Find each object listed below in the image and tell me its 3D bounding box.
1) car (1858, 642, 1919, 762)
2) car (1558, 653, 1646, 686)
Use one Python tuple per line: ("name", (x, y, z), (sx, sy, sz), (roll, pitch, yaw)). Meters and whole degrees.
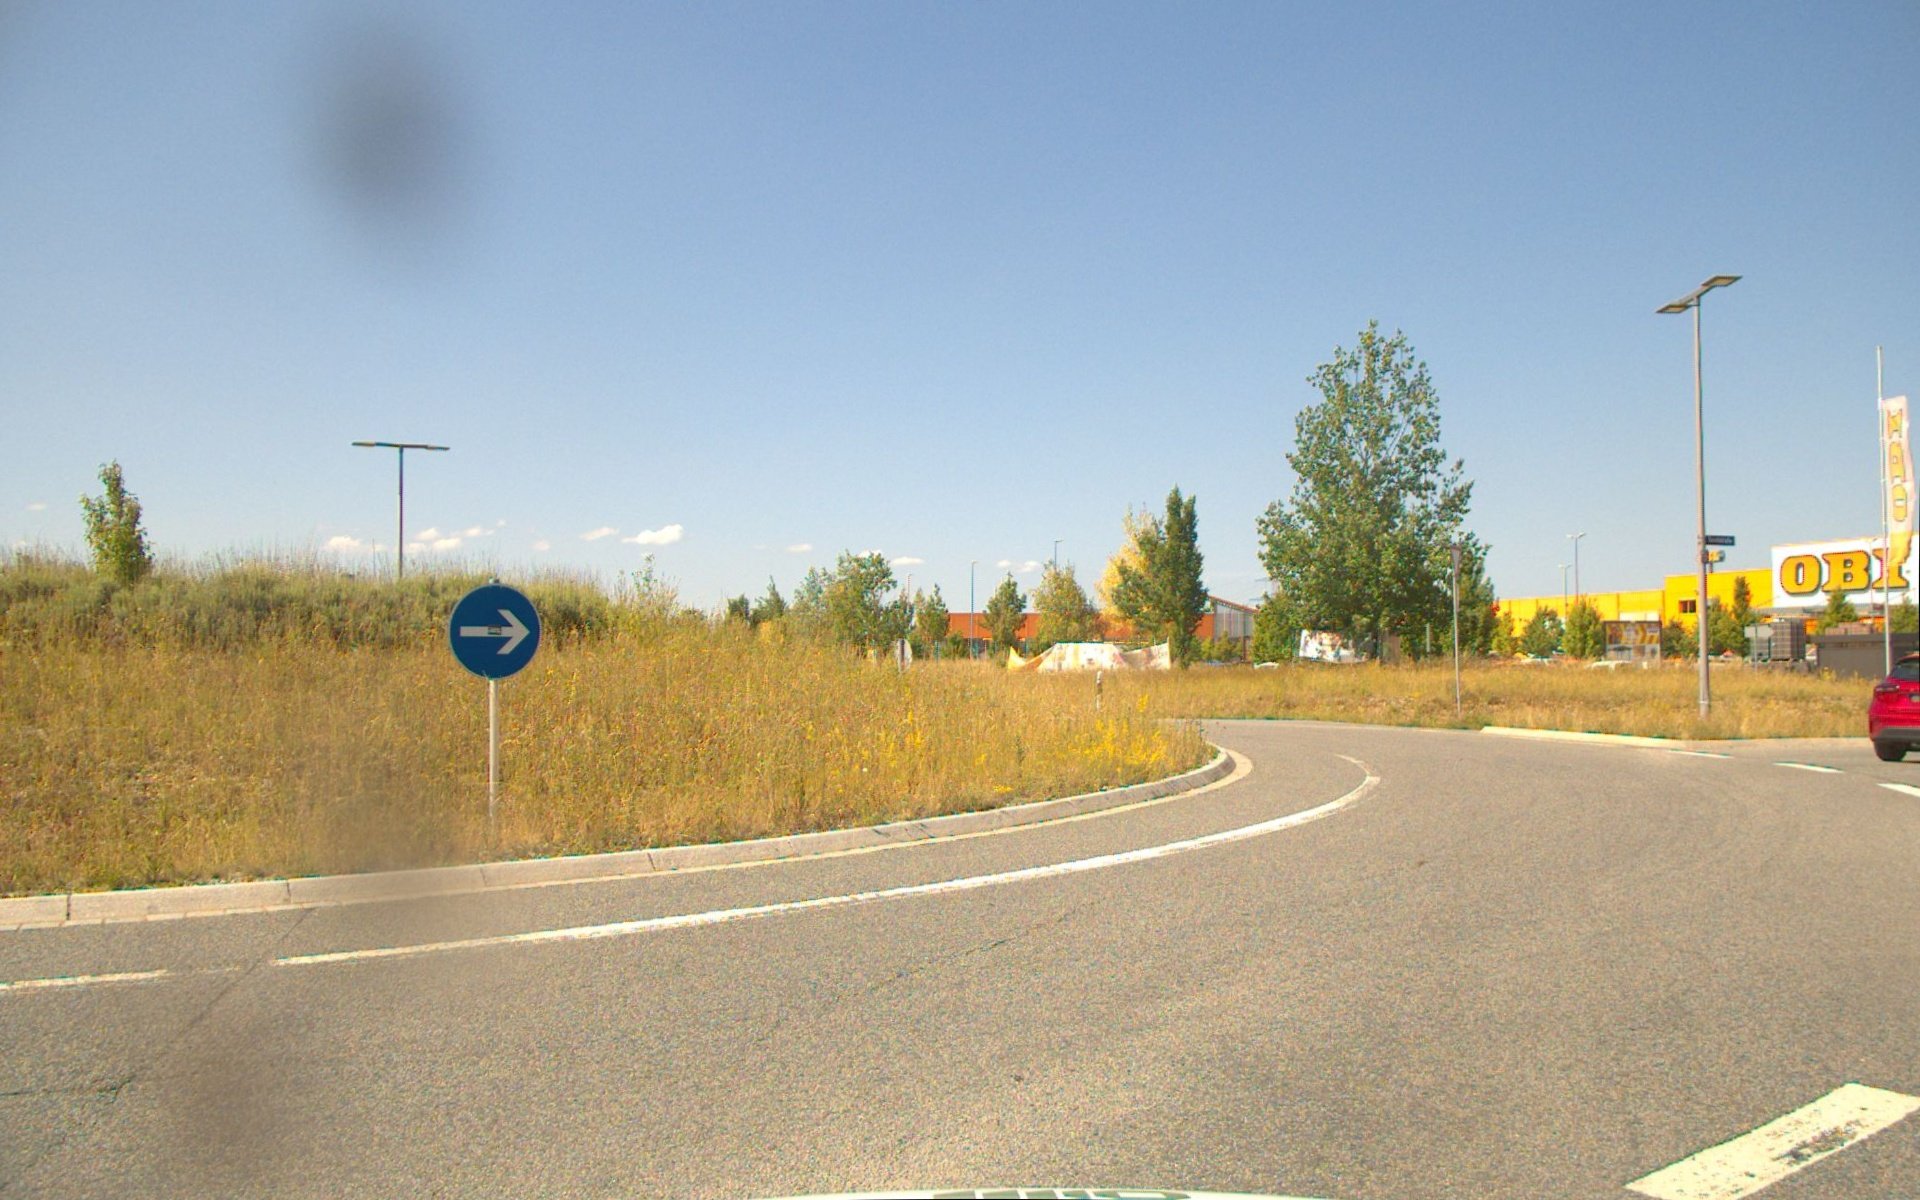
("car", (13.374, 1.268, 21.193), (4.073, 1.441, 1.784), (1, -1, -37))
("car", (33.363, 3.609, 86.008), (1.970, 1.646, 3.963), (1, -3, -28))
